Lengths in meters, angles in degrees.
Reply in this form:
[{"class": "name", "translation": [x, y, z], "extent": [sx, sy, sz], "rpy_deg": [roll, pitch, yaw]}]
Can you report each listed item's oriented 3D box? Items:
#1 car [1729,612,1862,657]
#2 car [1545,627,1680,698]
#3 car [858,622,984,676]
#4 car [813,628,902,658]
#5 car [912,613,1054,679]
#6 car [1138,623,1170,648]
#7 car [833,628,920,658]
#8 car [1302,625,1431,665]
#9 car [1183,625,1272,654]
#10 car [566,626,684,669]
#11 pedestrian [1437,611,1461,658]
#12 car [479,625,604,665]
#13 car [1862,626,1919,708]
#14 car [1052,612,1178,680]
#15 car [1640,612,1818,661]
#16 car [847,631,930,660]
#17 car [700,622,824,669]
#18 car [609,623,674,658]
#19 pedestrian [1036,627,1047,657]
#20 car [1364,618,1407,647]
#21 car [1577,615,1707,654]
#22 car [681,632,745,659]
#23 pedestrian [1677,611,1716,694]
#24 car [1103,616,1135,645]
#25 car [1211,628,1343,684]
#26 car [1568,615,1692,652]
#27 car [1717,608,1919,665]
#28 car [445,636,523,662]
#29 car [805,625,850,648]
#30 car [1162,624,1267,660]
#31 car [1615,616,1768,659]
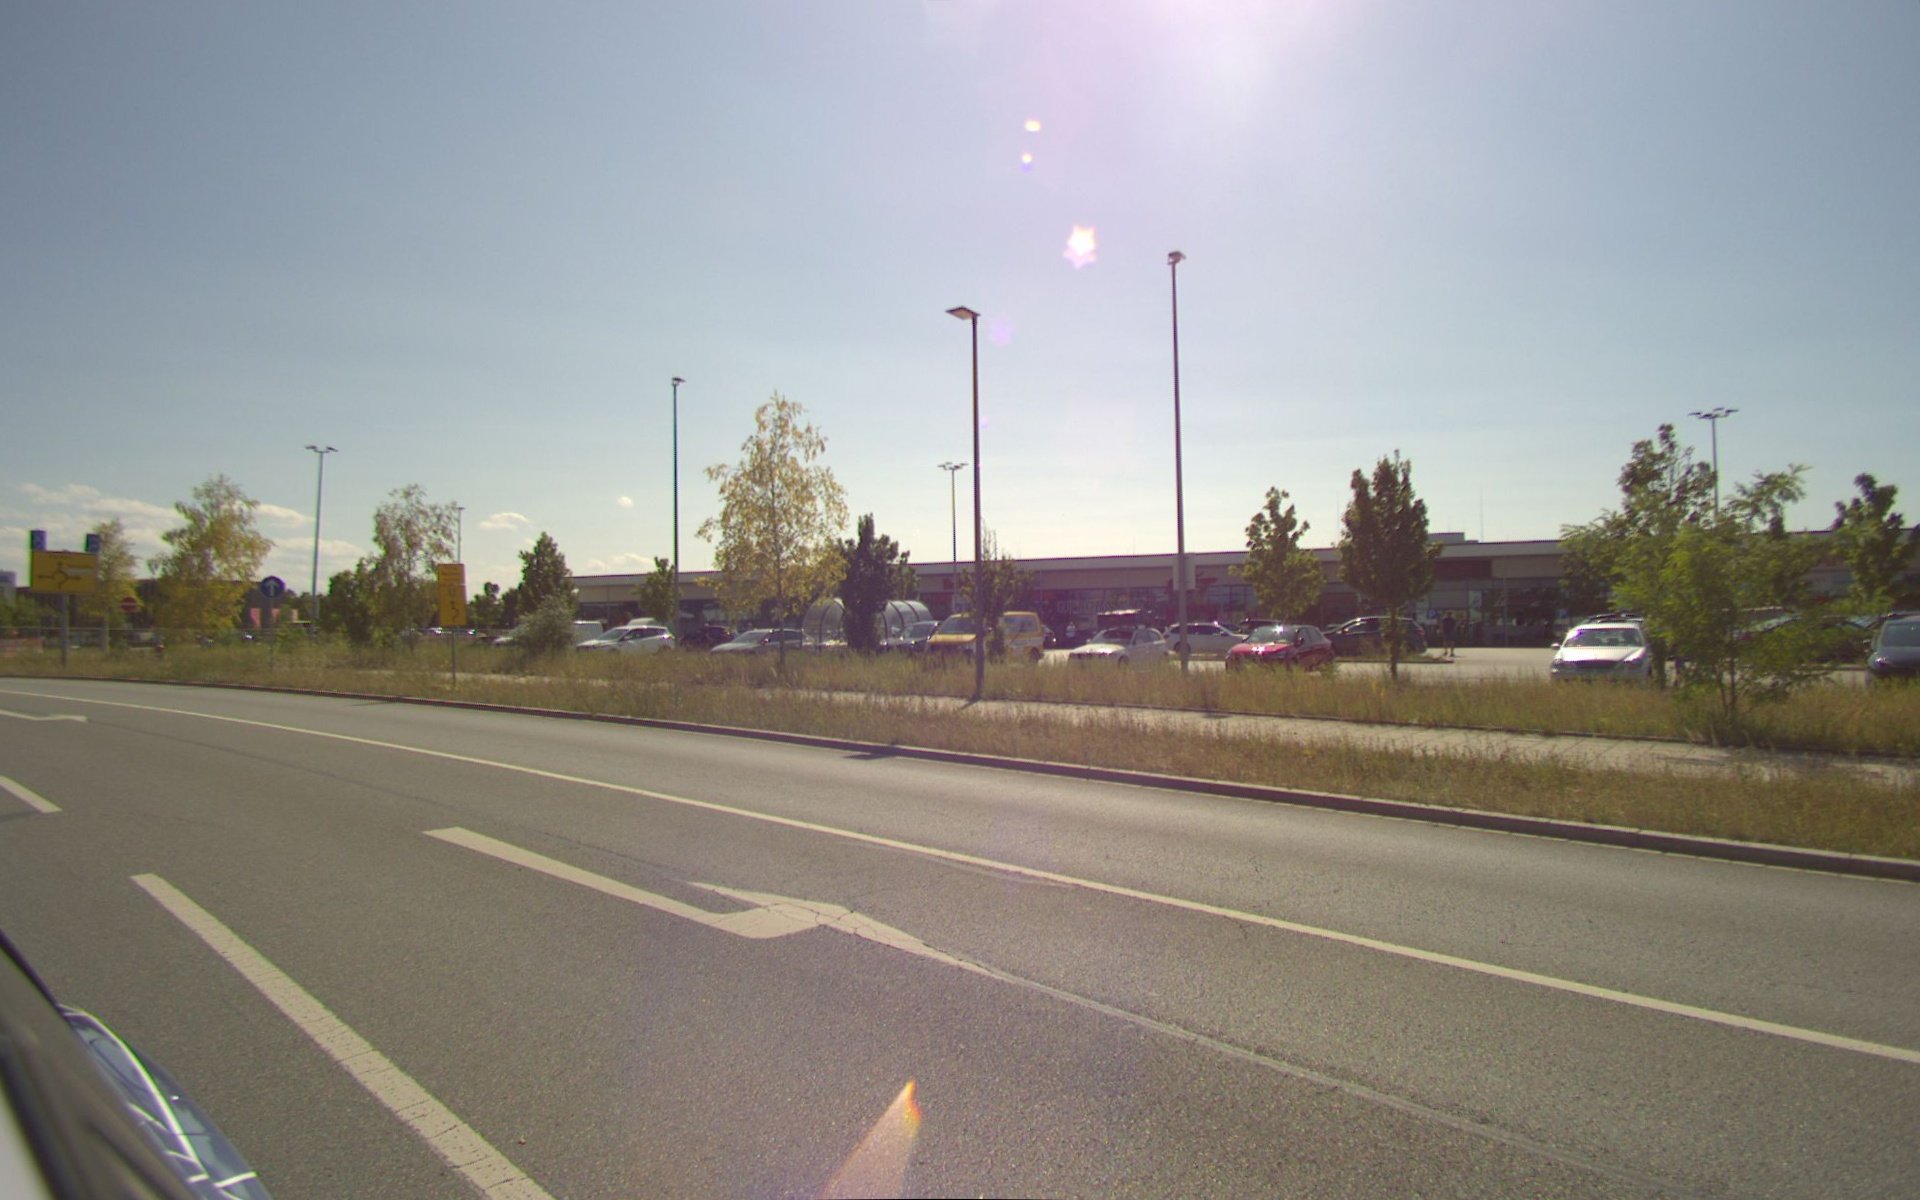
[{"class": "car", "translation": [38.371, 1.610, 46.589], "extent": [4.320, 1.974, 1.706], "rpy_deg": [-1, -2, 19]}, {"class": "car", "translation": [13.986, 1.267, 21.595], "extent": [1.934, 1.358, 4.102], "rpy_deg": [-2, -3, 40]}, {"class": "car", "translation": [-1.227, 1.609, 34.320], "extent": [1.877, 1.685, 4.728], "rpy_deg": [-2, -2, 34]}, {"class": "car", "translation": [-5.088, 2.151, 50.184], "extent": [4.110, 1.436, 1.706], "rpy_deg": [-1, -2, 20]}, {"class": "car", "translation": [0.892, 1.468, 33.447], "extent": [1.995, 1.980, 5.634], "rpy_deg": [-2, -2, 34]}, {"class": "car", "translation": [12.333, 2.226, 64.171], "extent": [1.701, 1.530, 4.334], "rpy_deg": [-1, -2, 14]}, {"class": "car", "translation": [-4.355, 2.241, 52.703], "extent": [4.208, 1.528, 1.706], "rpy_deg": [-1, -2, 20]}, {"class": "car", "translation": [15.028, 1.664, 37.661], "extent": [4.320, 1.428, 1.706], "rpy_deg": [-1, -2, 19]}, {"class": "car", "translation": [13.843, 2.057, 52.379], "extent": [4.324, 1.428, 1.705], "rpy_deg": [-1, -2, 22]}, {"class": "car", "translation": [-14.100, 1.976, 42.836], "extent": [1.993, 1.685, 4.555], "rpy_deg": [-2, -2, 32]}, {"class": "pedestrian", "translation": [19.182, 1.354, 39.729], "extent": [0.775, 1.838, 0.566], "rpy_deg": [-1, -2, 21]}, {"class": "car", "translation": [-18.619, 1.968, 45.292], "extent": [1.990, 1.685, 5.150], "rpy_deg": [-2, -2, 26]}, {"class": "car", "translation": [17.676, 1.155, 18.229], "extent": [1.934, 1.358, 4.102], "rpy_deg": [-2, -3, 40]}, {"class": "car", "translation": [4.664, 1.339, 30.018], "extent": [1.930, 1.875, 4.104], "rpy_deg": [-2, -3, 38]}, {"class": "car", "translation": [25.485, 1.233, 33.712], "extent": [4.320, 1.573, 1.706], "rpy_deg": [-1, -2, 19]}, {"class": "car", "translation": [-3.898, 2.485, 55.382], "extent": [4.208, 1.528, 1.706], "rpy_deg": [-1, -2, 20]}, {"class": "car", "translation": [-7.499, 1.708, 38.692], "extent": [1.994, 1.685, 4.663], "rpy_deg": [-2, -2, 33]}, {"class": "car", "translation": [-24.513, 3.125, 78.058], "extent": [1.924, 2.607, 5.686], "rpy_deg": [-1, -2, 17]}, {"class": "pedestrian", "translation": [4.066, 2.092, 50.469], "extent": [0.411, 1.475, 0.506], "rpy_deg": [-1, -2, 21]}, {"class": "car", "translation": [25.326, 1.946, 60.345], "extent": [1.701, 1.646, 4.334], "rpy_deg": [-1, -2, 14]}, {"class": "car", "translation": [29.474, 1.518, 43.892], "extent": [4.320, 1.614, 1.706], "rpy_deg": [-1, -2, 19]}, {"class": "car", "translation": [-14.571, 2.674, 59.949], "extent": [1.830, 1.564, 3.972], "rpy_deg": [-1, -2, 20]}, {"class": "pedestrian", "translation": [15.418, 1.086, 21.179], "extent": [0.578, 1.708, 0.757], "rpy_deg": [-2, -2, 40]}, {"class": "car", "translation": [10.460, 2.002, 66.419], "extent": [1.701, 1.821, 4.334], "rpy_deg": [-1, -2, 14]}, {"class": "car", "translation": [8.537, 1.442, 27.068], "extent": [1.934, 1.358, 4.102], "rpy_deg": [-2, -3, 40]}, {"class": "car", "translation": [30.381, 1.549, 46.010], "extent": [4.320, 1.608, 1.774], "rpy_deg": [-1, -2, 19]}, {"class": "car", "translation": [24.267, 1.037, 28.508], "extent": [4.320, 1.528, 1.706], "rpy_deg": [-1, -2, 19]}, {"class": "car", "translation": [-32.508, 3.357, 69.184], "extent": [4.378, 1.701, 2.272], "rpy_deg": [-1, -2, 15]}, {"class": "car", "translation": [-9.390, 2.608, 71.935], "extent": [1.701, 1.576, 4.334], "rpy_deg": [-1, -2, 14]}, {"class": "car", "translation": [11.284, 1.861, 44.945], "extent": [4.324, 1.538, 1.705], "rpy_deg": [-1, -2, 22]}, {"class": "car", "translation": [27.745, 1.448, 38.542], "extent": [4.320, 1.556, 1.706], "rpy_deg": [-1, -2, 19]}]
